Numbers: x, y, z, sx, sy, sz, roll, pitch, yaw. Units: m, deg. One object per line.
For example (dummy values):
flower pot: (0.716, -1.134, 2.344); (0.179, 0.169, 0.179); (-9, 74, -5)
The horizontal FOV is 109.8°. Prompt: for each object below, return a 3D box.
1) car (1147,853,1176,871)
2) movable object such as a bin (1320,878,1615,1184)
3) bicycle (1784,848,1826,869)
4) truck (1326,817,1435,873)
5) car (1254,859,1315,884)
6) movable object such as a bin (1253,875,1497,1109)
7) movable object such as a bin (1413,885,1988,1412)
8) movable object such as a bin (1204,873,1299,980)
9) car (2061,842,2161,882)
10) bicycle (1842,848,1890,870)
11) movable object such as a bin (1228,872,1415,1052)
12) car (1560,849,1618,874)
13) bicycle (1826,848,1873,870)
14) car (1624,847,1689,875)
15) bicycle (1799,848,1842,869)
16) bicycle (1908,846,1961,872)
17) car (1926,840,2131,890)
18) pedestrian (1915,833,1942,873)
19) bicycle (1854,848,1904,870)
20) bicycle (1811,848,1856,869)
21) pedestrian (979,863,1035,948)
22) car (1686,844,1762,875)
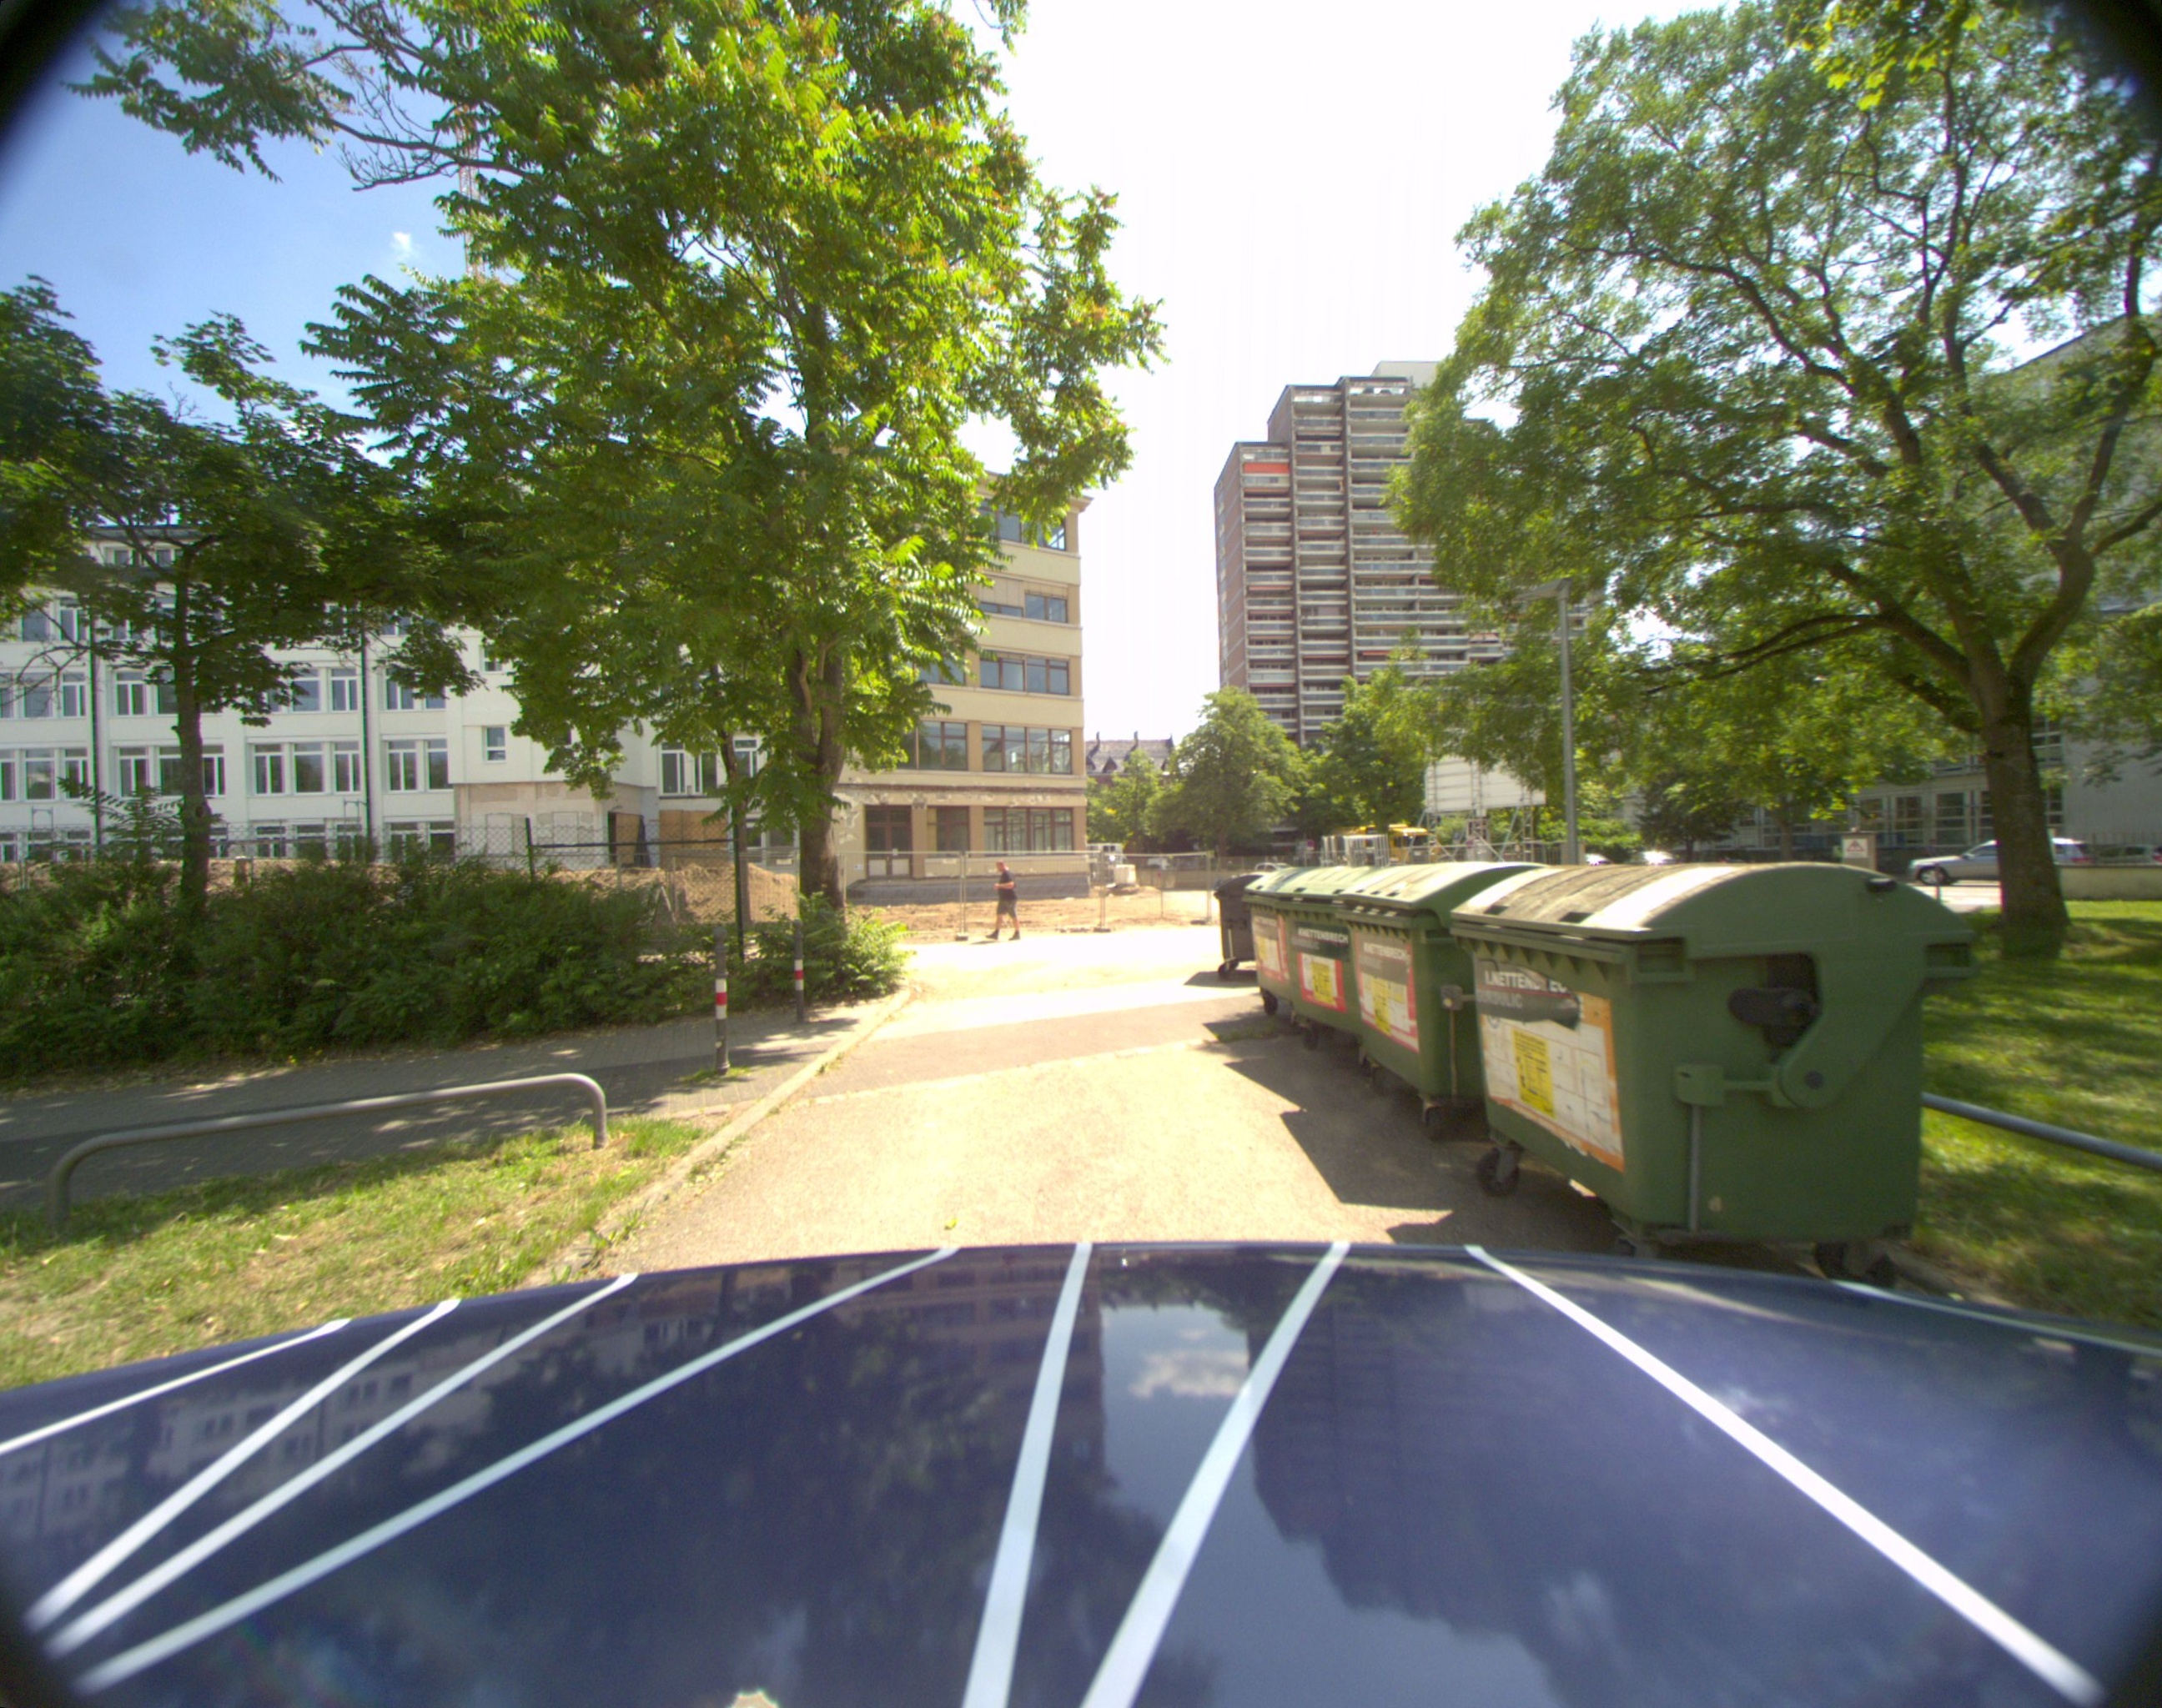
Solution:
car: (9.100, 0.884, 85.894); (1.995, 2.002, 4.007); (-2, 0, 26)
movable object such as a bin: (2.129, 0.902, 4.423); (1.047, 1.471, 1.262); (-1, 0, -1)
bicycle: (41.760, 0.265, 43.823); (1.926, 1.124, 0.568); (-1, 0, -1)
truck: (23.054, -0.628, 59.283); (2.752, 3.982, 9.734); (-2, 0, -13)
car: (12.401, 1.051, 46.447); (1.625, 1.431, 3.576); (-1, 0, -25)
movable object such as a bin: (2.139, 0.914, 5.726); (1.097, 1.471, 1.358); (-1, 0, -16)
movable object such as a bin: (2.128, 0.889, 2.931); (1.047, 1.471, 1.410); (-1, 0, -1)
movable object such as a bin: (2.434, 0.976, 10.759); (1.113, 1.386, 1.162); (-1, 0, 22)
car: (40.544, 0.278, 29.170); (1.751, 1.453, 3.544); (-1, 0, 14)
bicycle: (41.878, 0.253, 40.543); (1.942, 1.124, 0.568); (-1, 0, 2)
movable object such as a bin: (2.190, 0.926, 7.143); (1.208, 1.471, 1.324); (-1, 0, -7)
car: (30.306, 0.418, 45.423); (1.627, 1.365, 4.027); (-1, 0, 14)
bicycle: (41.966, 0.282, 41.513); (1.942, 1.124, 0.568); (-1, 0, 2)
car: (32.266, 0.345, 42.744); (1.816, 1.454, 4.028); (-2, 0, 20)
bicycle: (41.890, 0.249, 43.052); (1.926, 1.124, 0.568); (-1, 0, -1)
bicycle: (42.479, 0.230, 37.820); (1.942, 1.230, 0.568); (-2, 0, 2)
car: (33.771, 0.398, 27.223); (2.003, 1.597, 4.389); (-2, 0, -32)
pedestrian: (40.191, -0.045, 36.022); (0.716, 1.863, 0.577); (-1, 0, -16)
bicycle: (41.752, 0.266, 39.756); (1.942, 1.124, 0.568); (-1, 0, 2)
bicycle: (41.861, 0.260, 42.280); (1.926, 1.124, 0.568); (-1, 0, 2)
pedestrian: (-1.645, 1.108, 16.912); (0.969, 1.809, 0.869); (-1, 0, -25)
car: (33.863, 0.288, 40.142); (1.647, 1.507, 3.580); (-2, -1, 14)
